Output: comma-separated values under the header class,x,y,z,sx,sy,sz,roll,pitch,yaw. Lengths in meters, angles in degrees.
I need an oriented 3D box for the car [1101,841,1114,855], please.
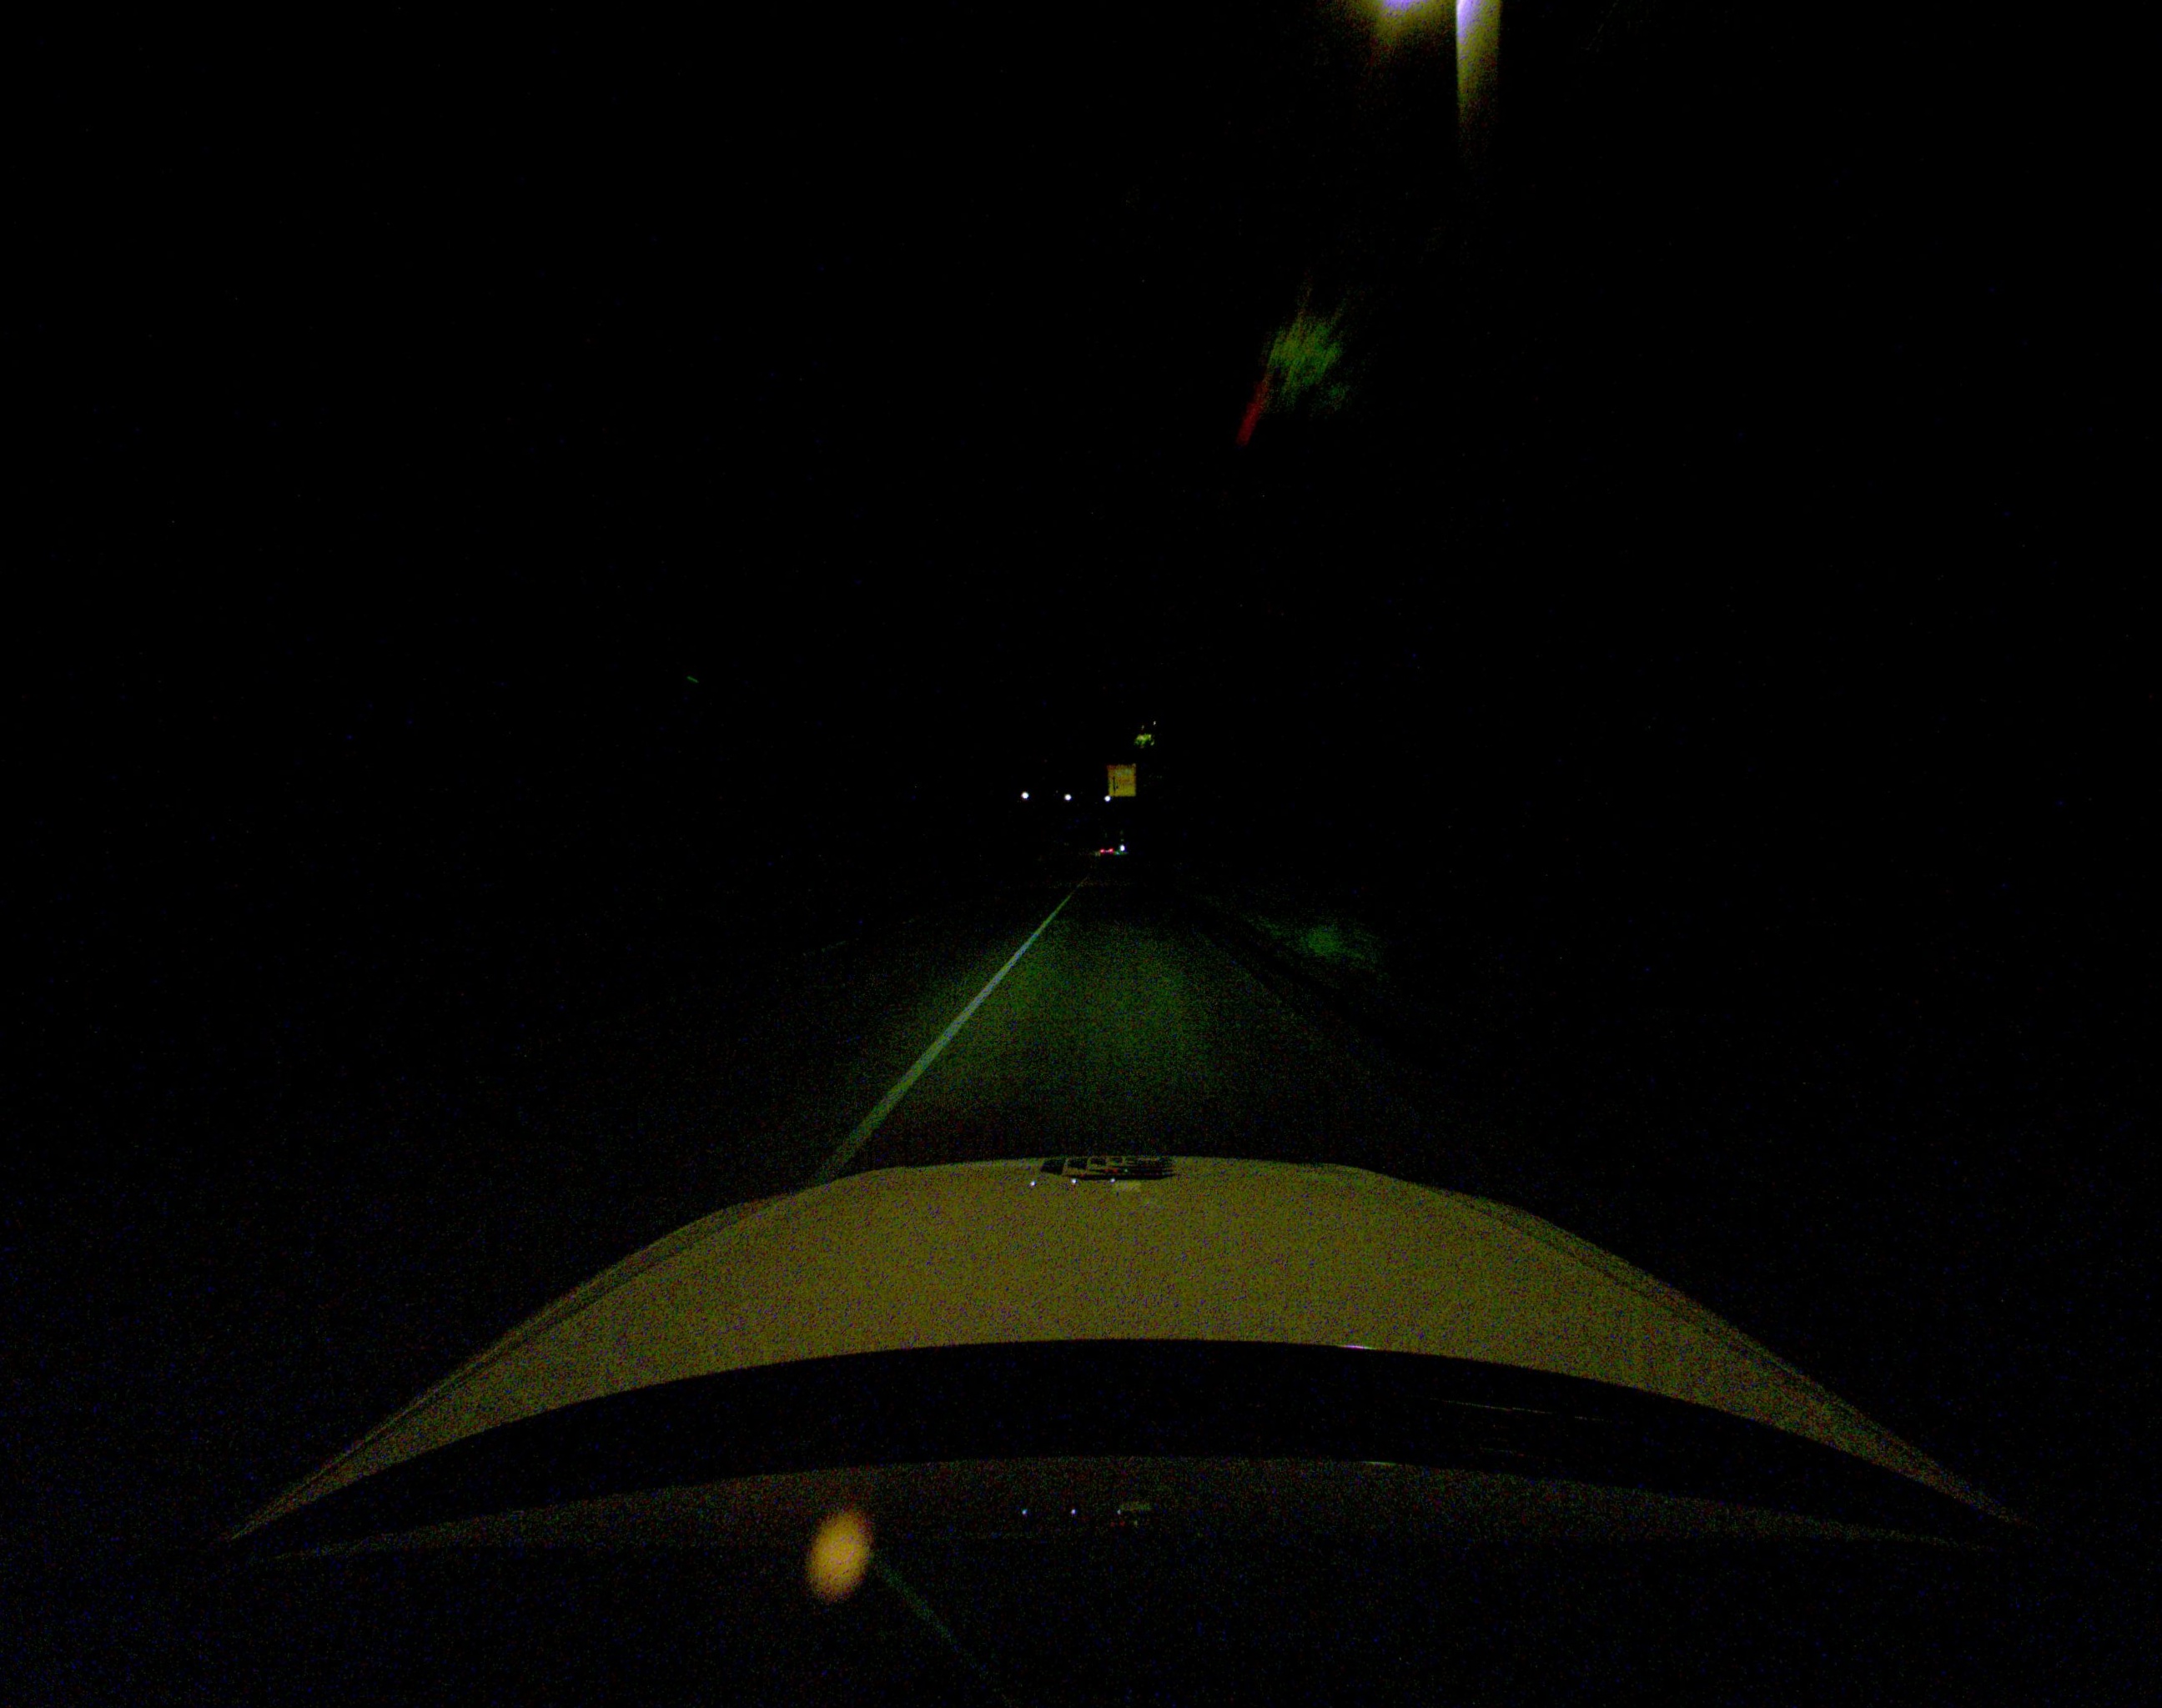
class,x,y,z,sx,sy,sz,roll,pitch,yaw
car,4.079,-0.874,123.678,1.911,2.014,4.124,0,-1,2
